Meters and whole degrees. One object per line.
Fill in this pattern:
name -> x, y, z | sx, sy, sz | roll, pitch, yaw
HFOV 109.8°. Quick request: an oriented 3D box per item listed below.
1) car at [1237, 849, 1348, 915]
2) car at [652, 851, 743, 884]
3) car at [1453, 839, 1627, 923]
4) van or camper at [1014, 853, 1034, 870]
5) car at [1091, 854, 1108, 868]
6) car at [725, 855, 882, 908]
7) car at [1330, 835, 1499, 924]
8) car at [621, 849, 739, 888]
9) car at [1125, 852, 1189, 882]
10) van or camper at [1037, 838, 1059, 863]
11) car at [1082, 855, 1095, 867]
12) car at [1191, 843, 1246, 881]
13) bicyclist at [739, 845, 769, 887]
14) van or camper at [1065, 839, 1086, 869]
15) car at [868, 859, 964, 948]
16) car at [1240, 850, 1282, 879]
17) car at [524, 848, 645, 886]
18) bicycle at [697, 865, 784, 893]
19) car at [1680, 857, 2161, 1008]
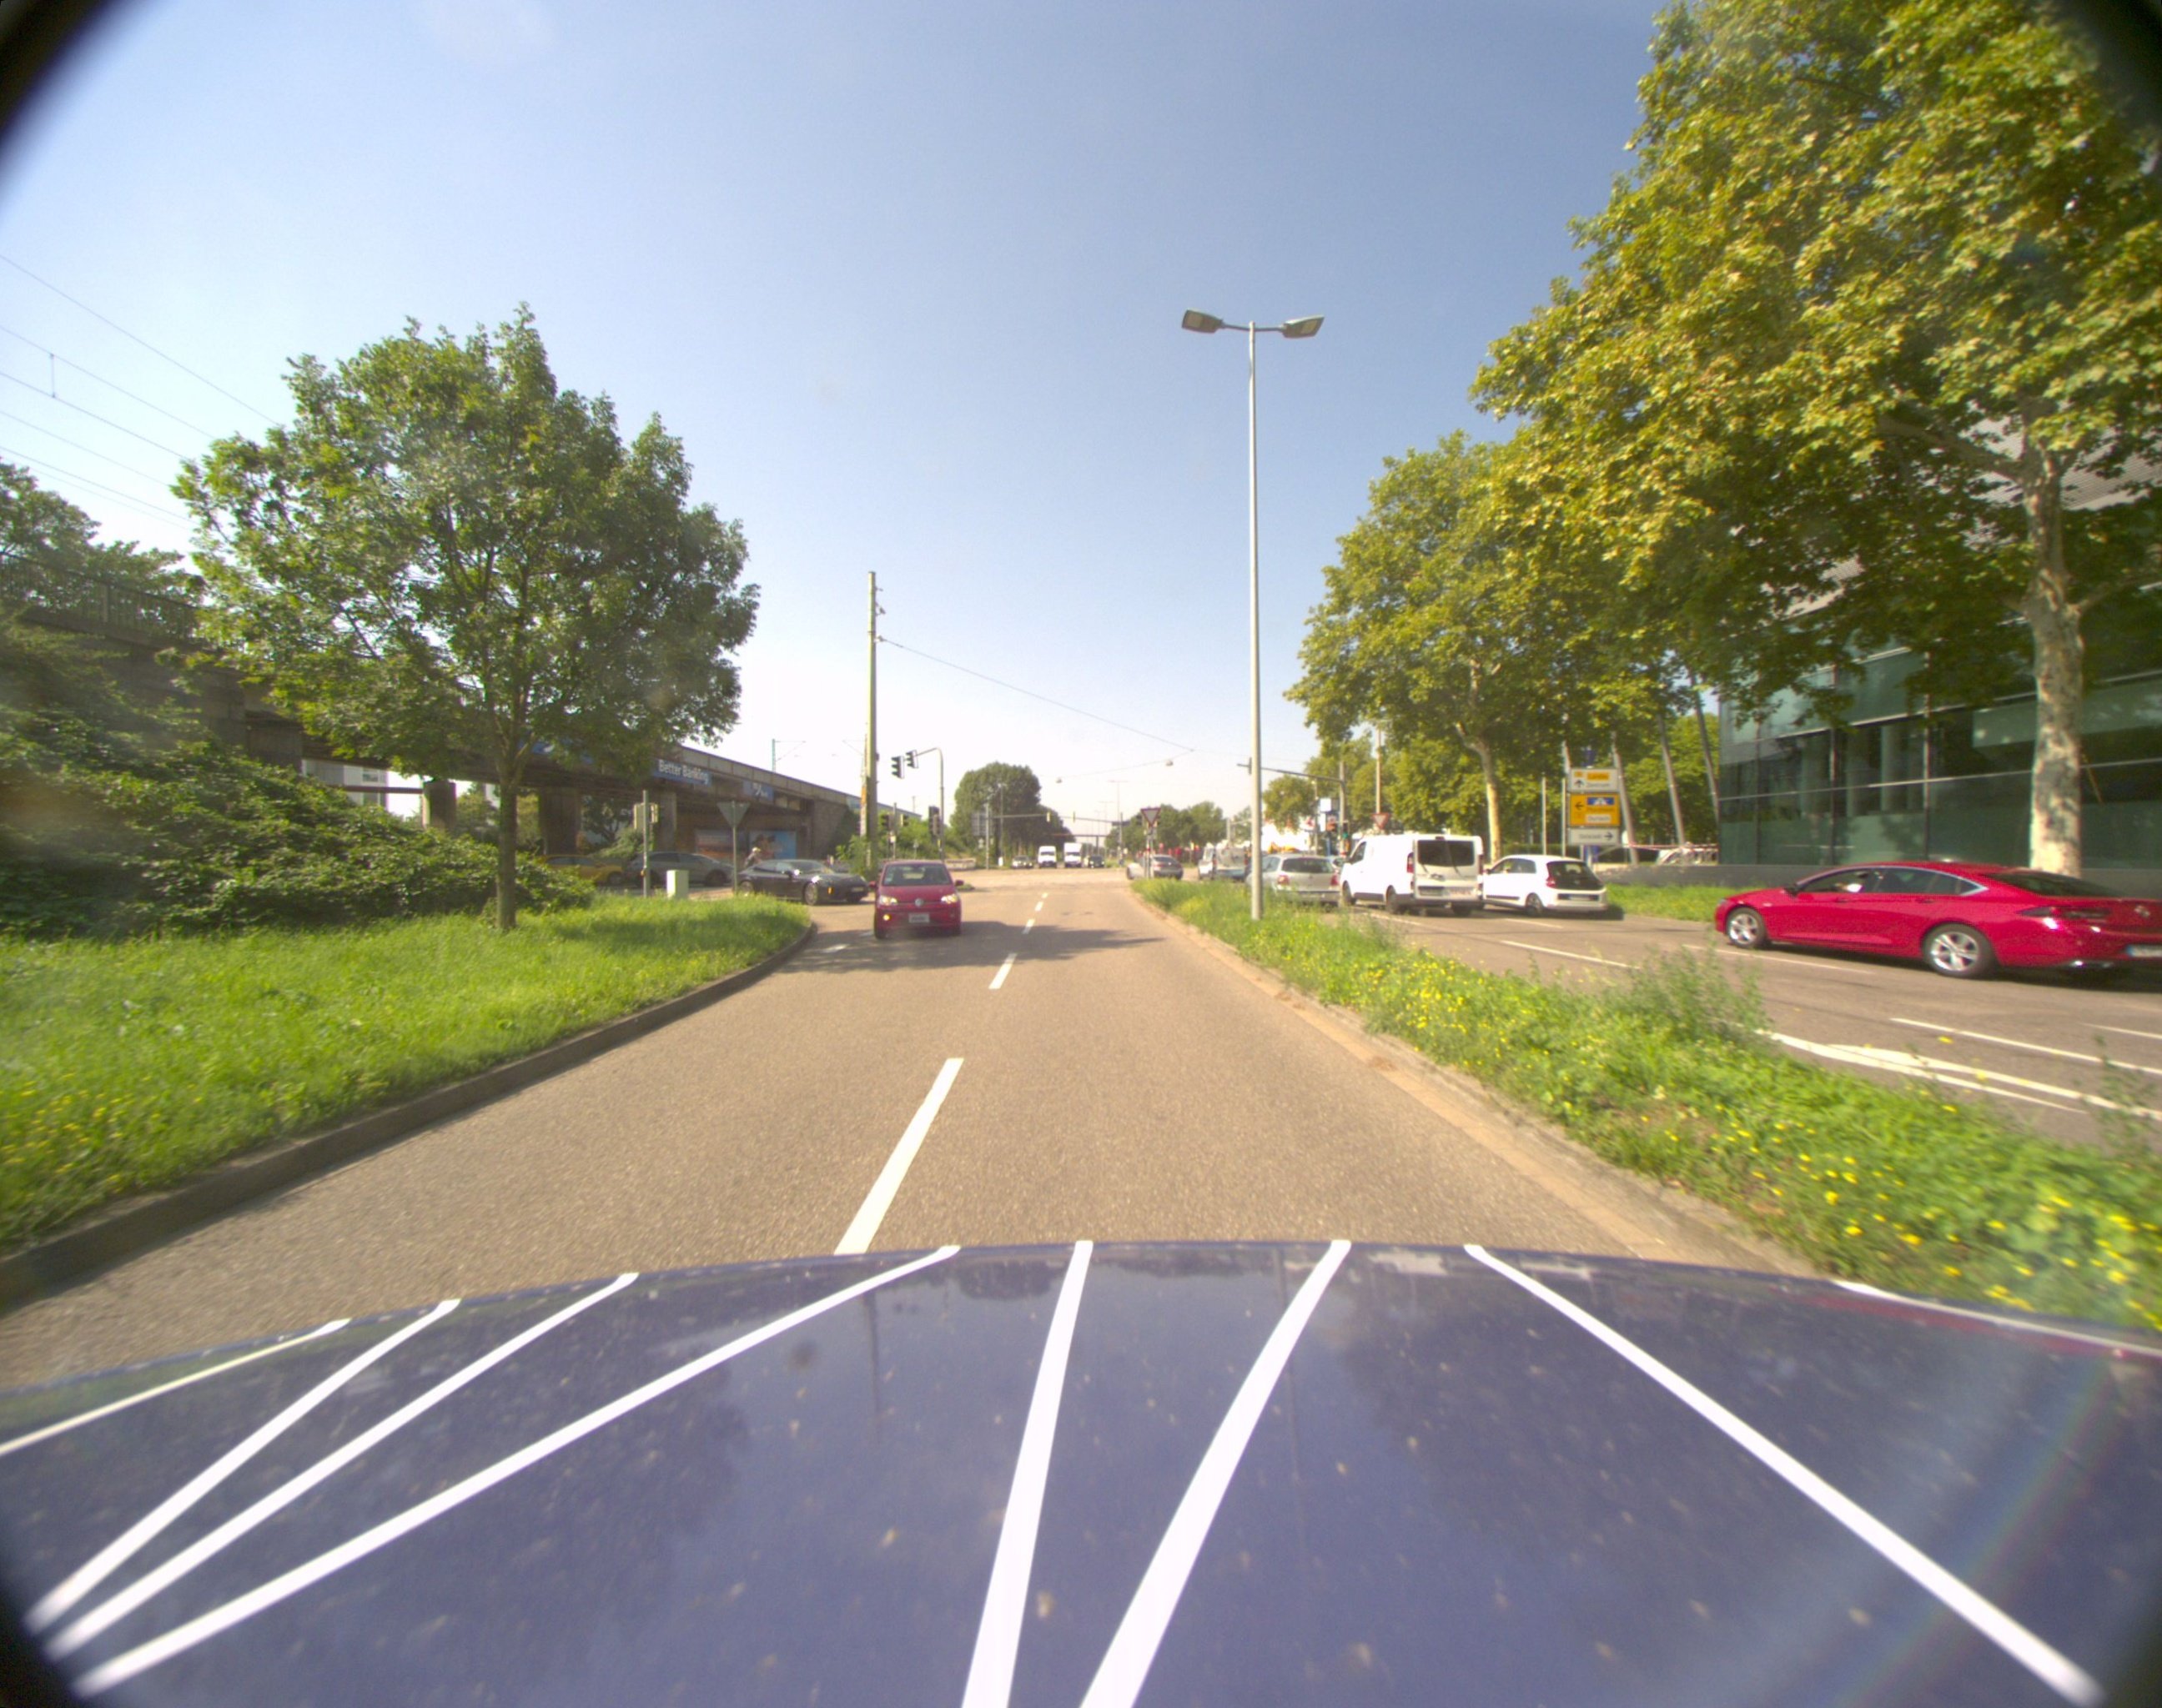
car -> 5.394, 0.686, 19.943 | 1.618, 1.526, 4.101 | 2, -1, -2
car -> -18.861, 0.637, 37.474 | 3.703, 1.529, 1.722 | 0, 1, -40
car -> 11.615, 0.612, 19.604 | 1.932, 1.885, 3.974 | 1, 1, -2
van or camper -> -6.380, 0.835, 85.666 | 1.850, 1.765, 4.176 | -2, -2, 0
car -> 2.297, 0.880, 93.819 | 1.905, 1.603, 5.198 | -2, -2, 1
car -> -9.091, 0.840, 24.841 | 4.874, 1.455, 2.003 | 1, 2, 26
car -> 8.328, 0.526, 19.634 | 1.932, 1.949, 5.188 | 2, 1, -1
car -> -17.973, 0.607, 34.126 | 4.482, 1.608, 1.902 | -1, 1, -34
car -> 4.025, 0.658, 41.263 | 1.843, 1.434, 4.599 | 1, 0, -16
van or camper -> -3.823, -0.342, 88.690 | 2.248, 2.467, 6.868 | -2, -2, -1
car -> 1.061, 1.012, 108.177 | 1.655, 1.654, 3.758 | -2, -2, 4
car -> 7.542, 0.448, 42.167 | 1.932, 1.946, 5.212 | 0, -1, -2
bicyclist -> -13.097, 0.481, 30.418 | 0.972, 1.648, 0.711 | 0, 0, -34
van or camper -> -0.593, 0.077, 93.042 | 2.248, 3.341, 6.854 | -2, -2, 1
car -> -3.383, 0.906, 15.535 | 1.644, 1.459, 3.549 | -3, 1, -13
car -> 10.947, 0.621, 46.356 | 1.672, 1.526, 3.729 | 1, 2, 0
car -> -22.444, 0.632, 34.449 | 4.357, 1.563, 1.995 | 2, -2, -40
bicycle -> -13.531, 0.979, 30.213 | 2.983, 1.043, 1.232 | 0, 0, -34
car -> 11.428, 0.858, 10.672 | 1.784, 1.502, 5.211 | 1, 1, -1
